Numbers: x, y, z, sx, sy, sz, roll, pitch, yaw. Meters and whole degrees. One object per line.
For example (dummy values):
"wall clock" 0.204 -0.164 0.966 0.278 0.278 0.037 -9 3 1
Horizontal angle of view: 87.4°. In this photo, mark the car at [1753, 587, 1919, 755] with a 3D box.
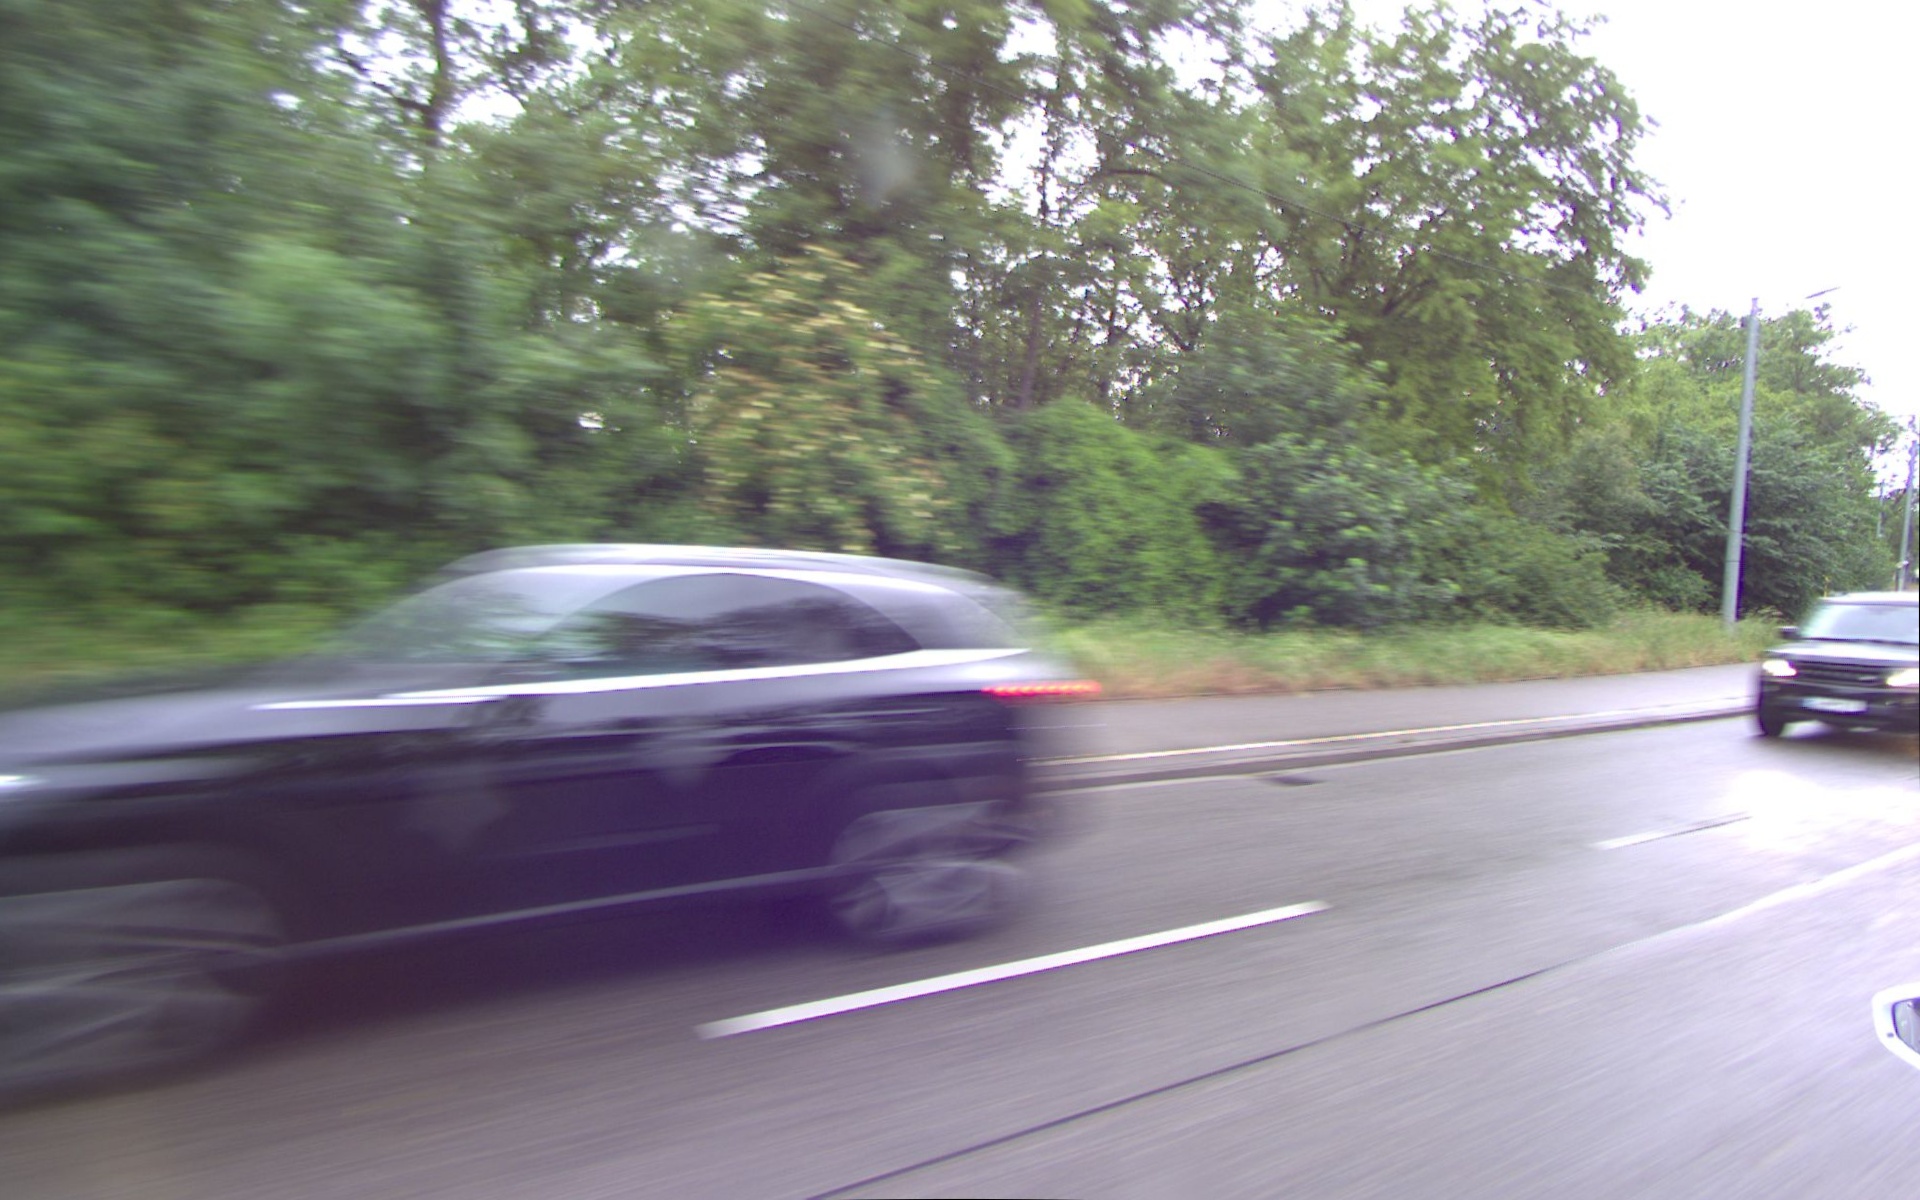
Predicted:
"car" 12.248 0.770 13.166 4.668 1.868 1.813 -1 2 -38

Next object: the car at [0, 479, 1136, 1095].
"car" -1.533 0.501 4.330 4.469 1.616 1.798 1 1 -33
